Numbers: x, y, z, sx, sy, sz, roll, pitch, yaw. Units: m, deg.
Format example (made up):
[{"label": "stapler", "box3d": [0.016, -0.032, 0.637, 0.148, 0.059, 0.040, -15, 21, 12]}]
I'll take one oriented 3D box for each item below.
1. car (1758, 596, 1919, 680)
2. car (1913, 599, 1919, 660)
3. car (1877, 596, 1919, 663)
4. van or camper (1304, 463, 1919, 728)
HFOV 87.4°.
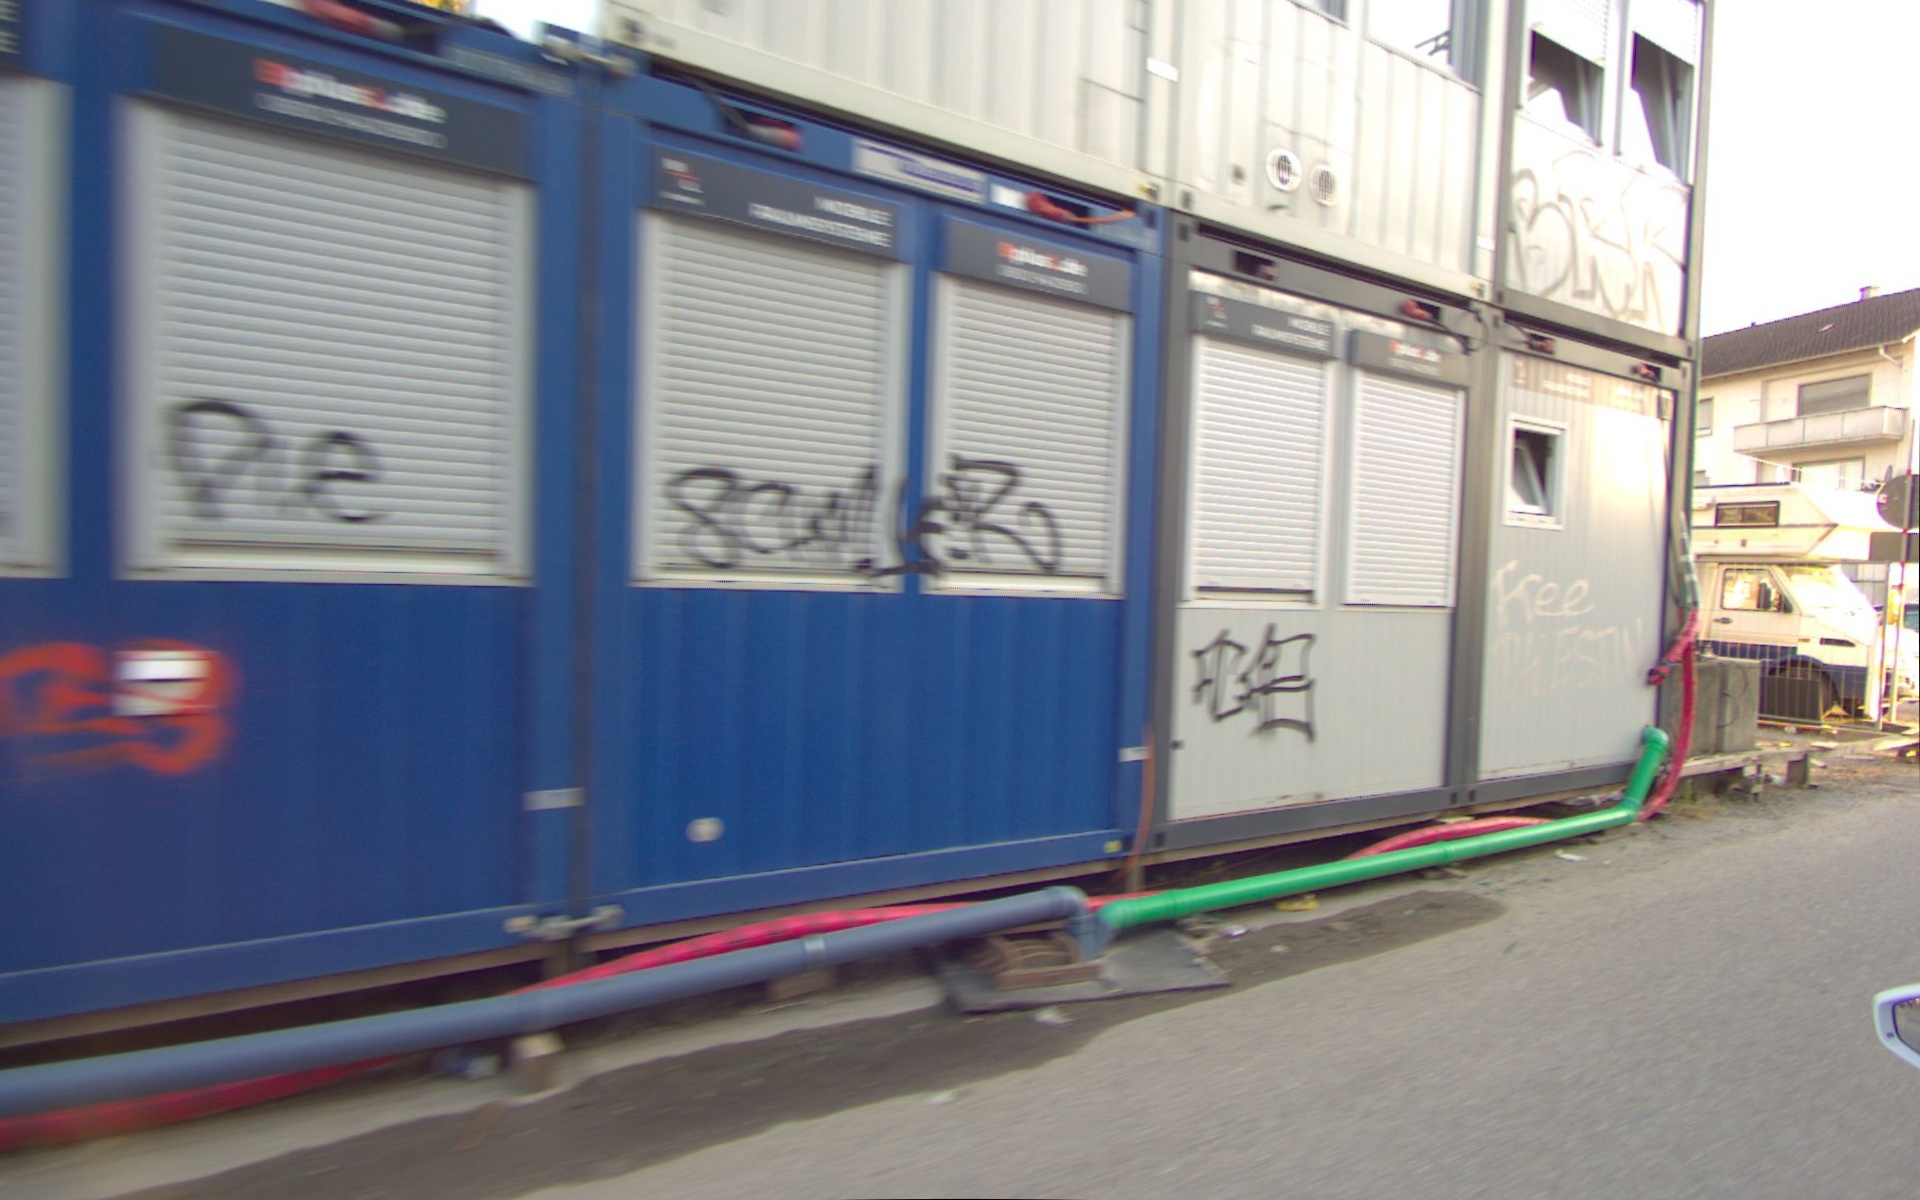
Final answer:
[{"label": "car", "box3d": [20.429, 0.824, 21.777, 1.970, 1.670, 4.496, 1, 1, -21]}, {"label": "car", "box3d": [27.910, 0.872, 25.827, 1.970, 1.670, 4.496, 1, 1, -21]}, {"label": "car", "box3d": [25.615, 0.809, 24.403, 1.970, 1.670, 4.496, 1, 1, -21]}, {"label": "van or camper", "box3d": [9.857, -0.138, 16.189, 2.562, 3.090, 8.729, 1, 1, -28]}]
